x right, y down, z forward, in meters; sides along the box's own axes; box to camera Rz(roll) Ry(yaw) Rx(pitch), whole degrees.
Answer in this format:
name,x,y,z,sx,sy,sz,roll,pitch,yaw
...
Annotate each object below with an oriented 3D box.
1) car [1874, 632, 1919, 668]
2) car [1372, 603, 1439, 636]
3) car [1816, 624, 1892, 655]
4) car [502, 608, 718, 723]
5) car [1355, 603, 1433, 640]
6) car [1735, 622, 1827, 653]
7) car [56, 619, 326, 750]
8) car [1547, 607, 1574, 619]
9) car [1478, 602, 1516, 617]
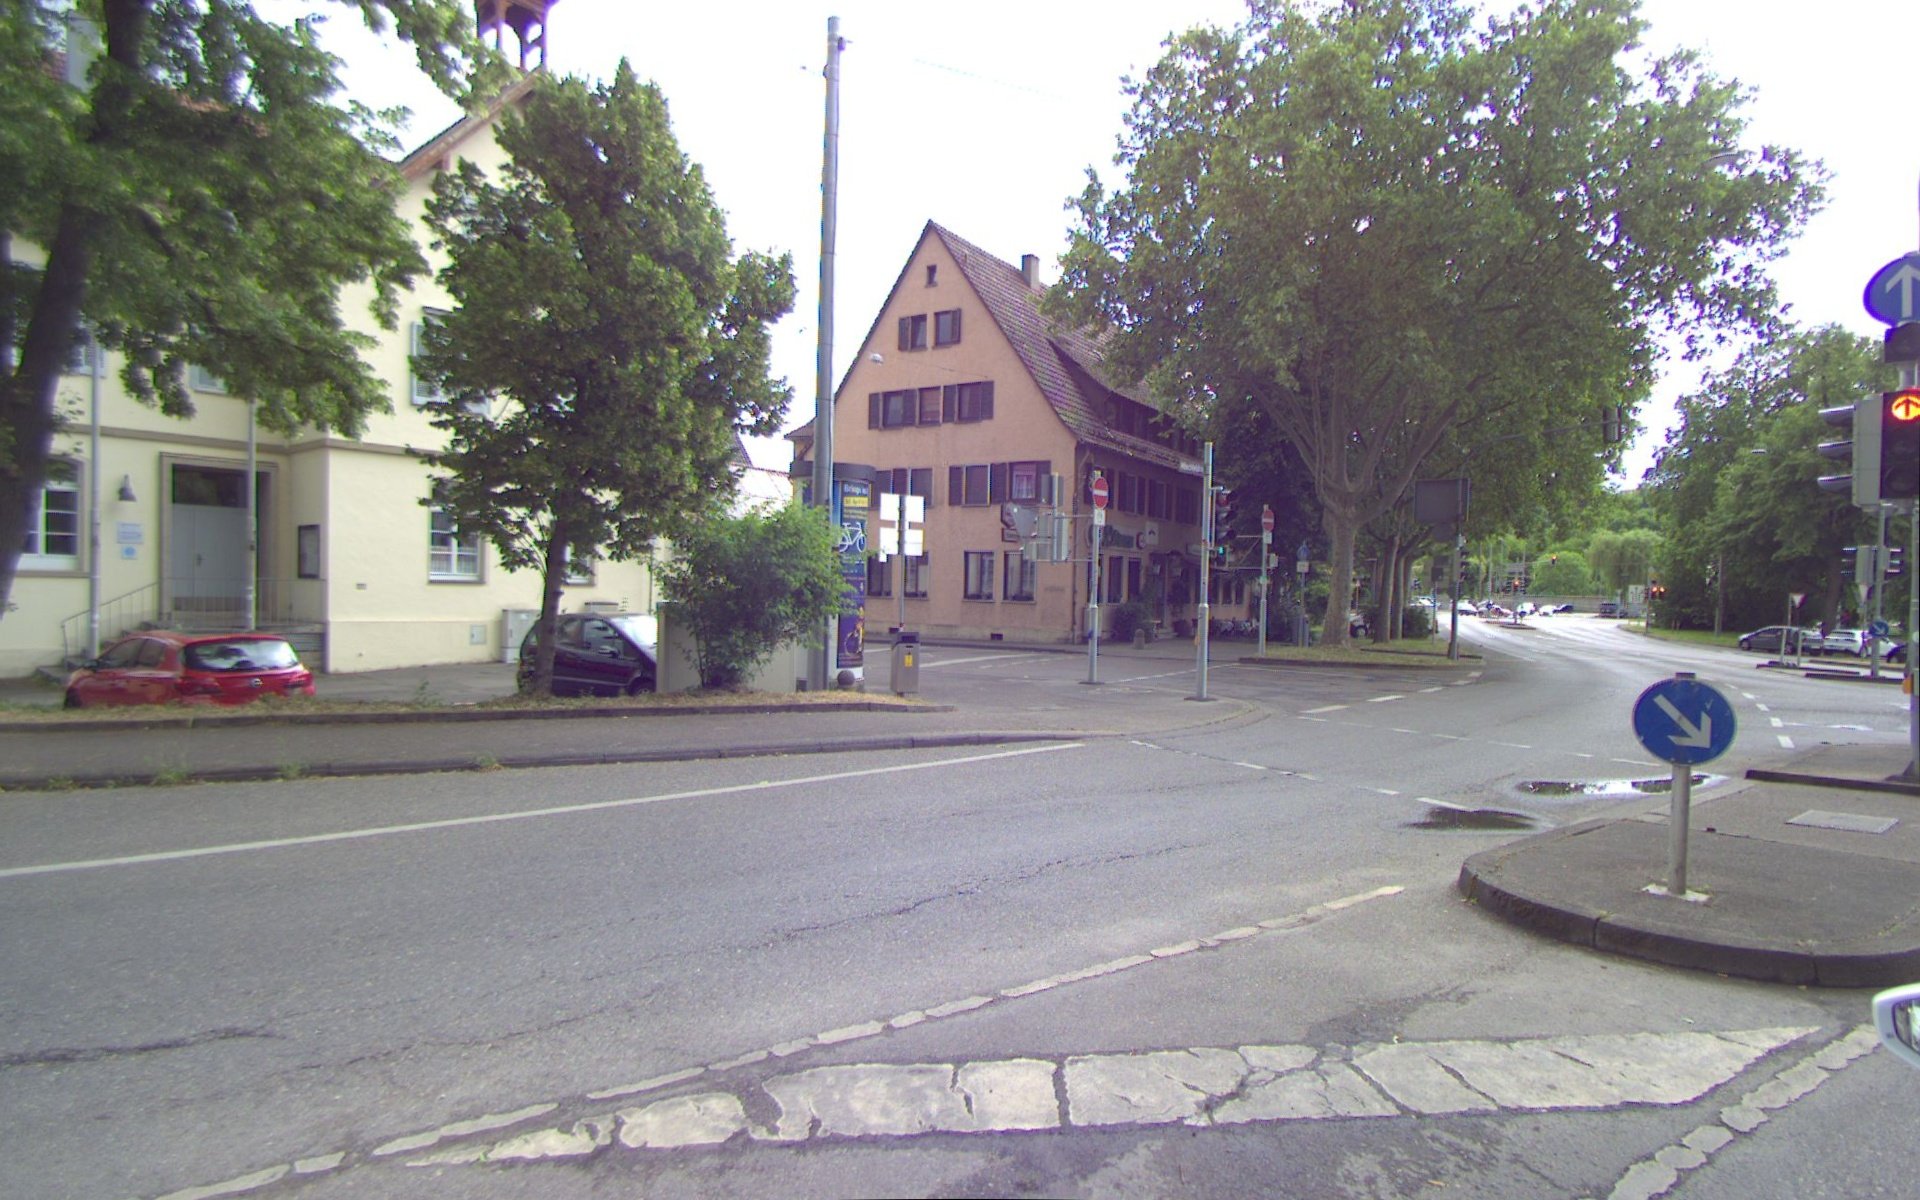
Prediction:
name,x,y,z,sx,sy,sz,roll,pitch,yaw
car,39.572,2.079,40.947,1.442,1.412,3.596,2,0,3
car,25.474,1.088,57.471,3.387,1.765,1.570,2,0,28
car,47.306,2.083,53.162,3.342,1.484,1.543,2,0,-19
car,-5.763,1.010,16.600,3.035,1.654,1.607,2,0,22
car,21.412,1.050,49.587,3.387,1.663,1.570,2,0,28
car,43.867,1.970,53.762,1.559,1.484,3.543,2,0,-17
car,-10.174,1.017,13.252,3.492,1.397,1.605,2,0,30
car,108.243,2.315,181.087,3.928,2.040,1.996,2,0,30
car,69.043,1.173,129.155,3.941,1.806,1.990,2,0,42
